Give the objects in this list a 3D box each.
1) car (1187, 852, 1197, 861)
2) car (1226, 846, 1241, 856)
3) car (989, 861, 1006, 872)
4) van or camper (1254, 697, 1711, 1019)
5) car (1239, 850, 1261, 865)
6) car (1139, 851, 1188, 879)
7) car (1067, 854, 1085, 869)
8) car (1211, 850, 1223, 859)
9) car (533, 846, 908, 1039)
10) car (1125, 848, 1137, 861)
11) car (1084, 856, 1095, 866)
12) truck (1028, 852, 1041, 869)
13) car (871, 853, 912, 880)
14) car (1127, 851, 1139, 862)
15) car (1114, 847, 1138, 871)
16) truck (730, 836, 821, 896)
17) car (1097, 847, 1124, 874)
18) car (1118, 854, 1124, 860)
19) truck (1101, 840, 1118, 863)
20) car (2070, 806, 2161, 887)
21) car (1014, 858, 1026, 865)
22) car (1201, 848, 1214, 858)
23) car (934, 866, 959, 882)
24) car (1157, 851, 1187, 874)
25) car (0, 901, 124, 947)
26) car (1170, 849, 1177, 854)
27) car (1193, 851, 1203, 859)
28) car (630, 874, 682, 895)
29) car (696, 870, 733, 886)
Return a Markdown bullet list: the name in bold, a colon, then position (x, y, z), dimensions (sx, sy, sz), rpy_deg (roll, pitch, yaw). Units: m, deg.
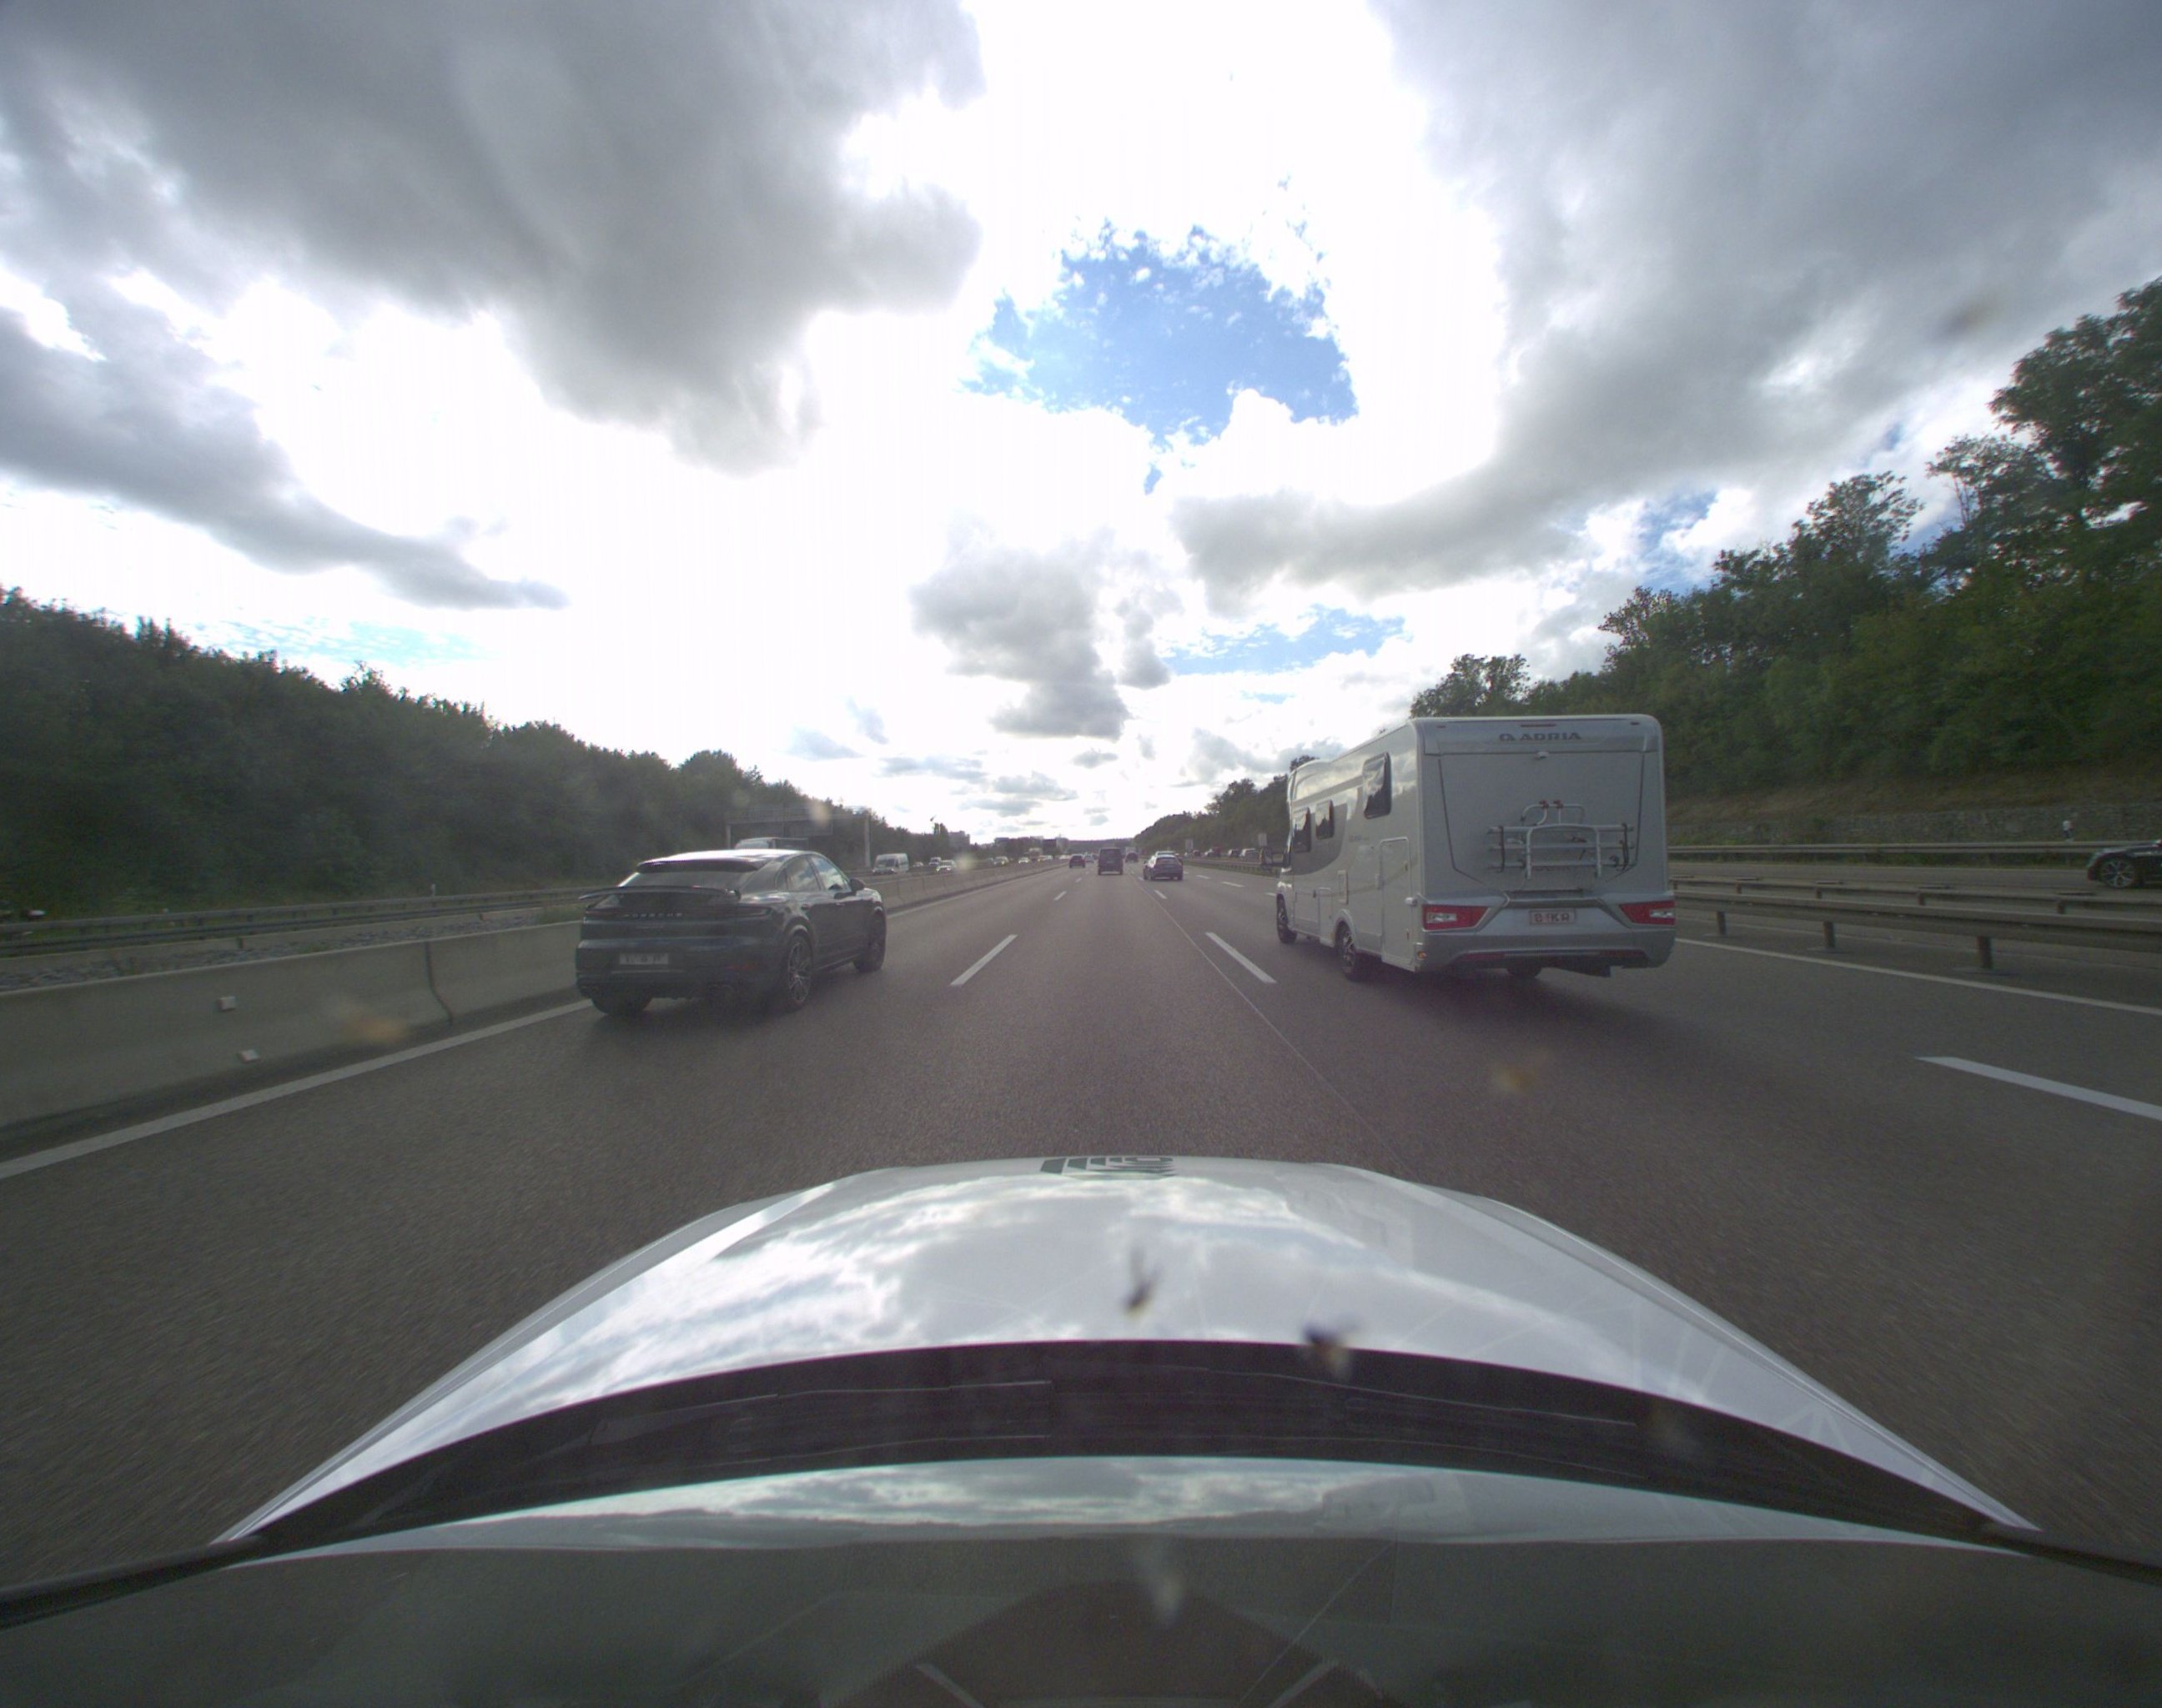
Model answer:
- **car**: position (23.155, 0.559, 169.846), dimensions (1.745, 1.695, 4.192), rpy_deg (-2, 0, 2)
- **car**: position (25.378, -0.456, 135.705), dimensions (1.723, 1.546, 4.305), rpy_deg (-4, 0, 0)
- **car**: position (-11.977, 1.799, 117.592), dimensions (1.768, 1.561, 4.782), rpy_deg (-2, 0, 1)
- **van or camper**: position (4.232, 0.033, 10.789), dimensions (2.459, 2.722, 7.664), rpy_deg (-1, 0, 2)
- **car**: position (20.663, 0.402, 99.738), dimensions (1.840, 1.650, 4.308), rpy_deg (-4, 0, 2)
- **car**: position (4.611, 0.620, 46.185), dimensions (1.720, 1.479, 4.378), rpy_deg (-1, 0, -9)
- **car**: position (-0.564, 0.892, 96.631), dimensions (1.866, 1.698, 4.073), rpy_deg (-2, 0, 2)
- **car**: position (26.578, 0.067, 159.190), dimensions (1.590, 1.804, 3.825), rpy_deg (-2, 0, 0)
- **car**: position (-3.730, 0.770, 9.846), dimensions (1.905, 1.636, 5.502), rpy_deg (-1, 0, 2)
- **car**: position (8.898, 0.061, 144.860), dimensions (1.866, 2.357, 4.283), rpy_deg (-1, 0, 2)
- **car**: position (1.419, 1.220, 137.273), dimensions (1.691, 1.611, 4.114), rpy_deg (-2, 0, 1)
- **truck**: position (-12.791, 1.792, 224.743), dimensions (2.885, 4.323, 5.164), rpy_deg (-2, 0, 2)
- **car**: position (-17.495, 1.111, 75.528), dimensions (2.156, 2.271, 6.462), rpy_deg (-2, 0, 1)
- **car**: position (8.773, 0.412, 137.681), dimensions (1.906, 1.919, 4.032), rpy_deg (-1, 0, 2)
- **car**: position (3.457, 0.386, 63.324), dimensions (1.714, 1.724, 4.393), rpy_deg (-1, 0, 2)
- **truck**: position (-18.467, 0.676, 49.784), dimensions (2.345, 3.263, 7.828), rpy_deg (-2, 0, 1)
- **car**: position (2.197, 0.445, 60.589), dimensions (1.848, 1.910, 4.261), rpy_deg (-1, 0, 2)
- **car**: position (10.812, 0.756, 220.539), dimensions (1.745, 1.695, 4.192), rpy_deg (-2, 0, 2)
- **truck**: position (5.926, -0.496, 168.093), dimensions (3.251, 4.375, 11.030), rpy_deg (-1, 0, 2)
- **car**: position (23.054, -0.188, 15.844), dimensions (1.837, 1.602, 4.765), rpy_deg (-4, 0, 1)
- **car**: position (-11.343, 1.376, 152.750), dimensions (1.764, 1.294, 4.677), rpy_deg (-1, 0, 1)
- **car**: position (21.113, -0.165, 135.977), dimensions (1.590, 1.546, 4.190), rpy_deg (-2, 0, 0)
- **car**: position (-13.640, 2.036, 82.929), dimensions (1.731, 1.511, 4.052), rpy_deg (-2, 0, 1)
- **car**: position (6.366, 0.591, 57.544), dimensions (1.691, 1.564, 4.114), rpy_deg (-2, 0, 1)
- **car**: position (-40.613, 2.729, 31.733), dimensions (1.586, 1.494, 4.181), rpy_deg (-2, 0, 1)
- **car**: position (29.478, -0.673, 259.240), dimensions (1.746, 1.517, 4.190), rpy_deg (-2, 0, 1)
- **car**: position (27.411, 0.244, 190.741), dimensions (1.745, 1.695, 4.192), rpy_deg (-2, 0, 2)
- **car**: position (-30.928, 2.183, 59.436), dimensions (1.558, 1.365, 4.052), rpy_deg (-2, 0, 1)
- **car**: position (-34.657, 2.219, 77.193), dimensions (1.558, 1.365, 4.052), rpy_deg (-2, 0, 1)
